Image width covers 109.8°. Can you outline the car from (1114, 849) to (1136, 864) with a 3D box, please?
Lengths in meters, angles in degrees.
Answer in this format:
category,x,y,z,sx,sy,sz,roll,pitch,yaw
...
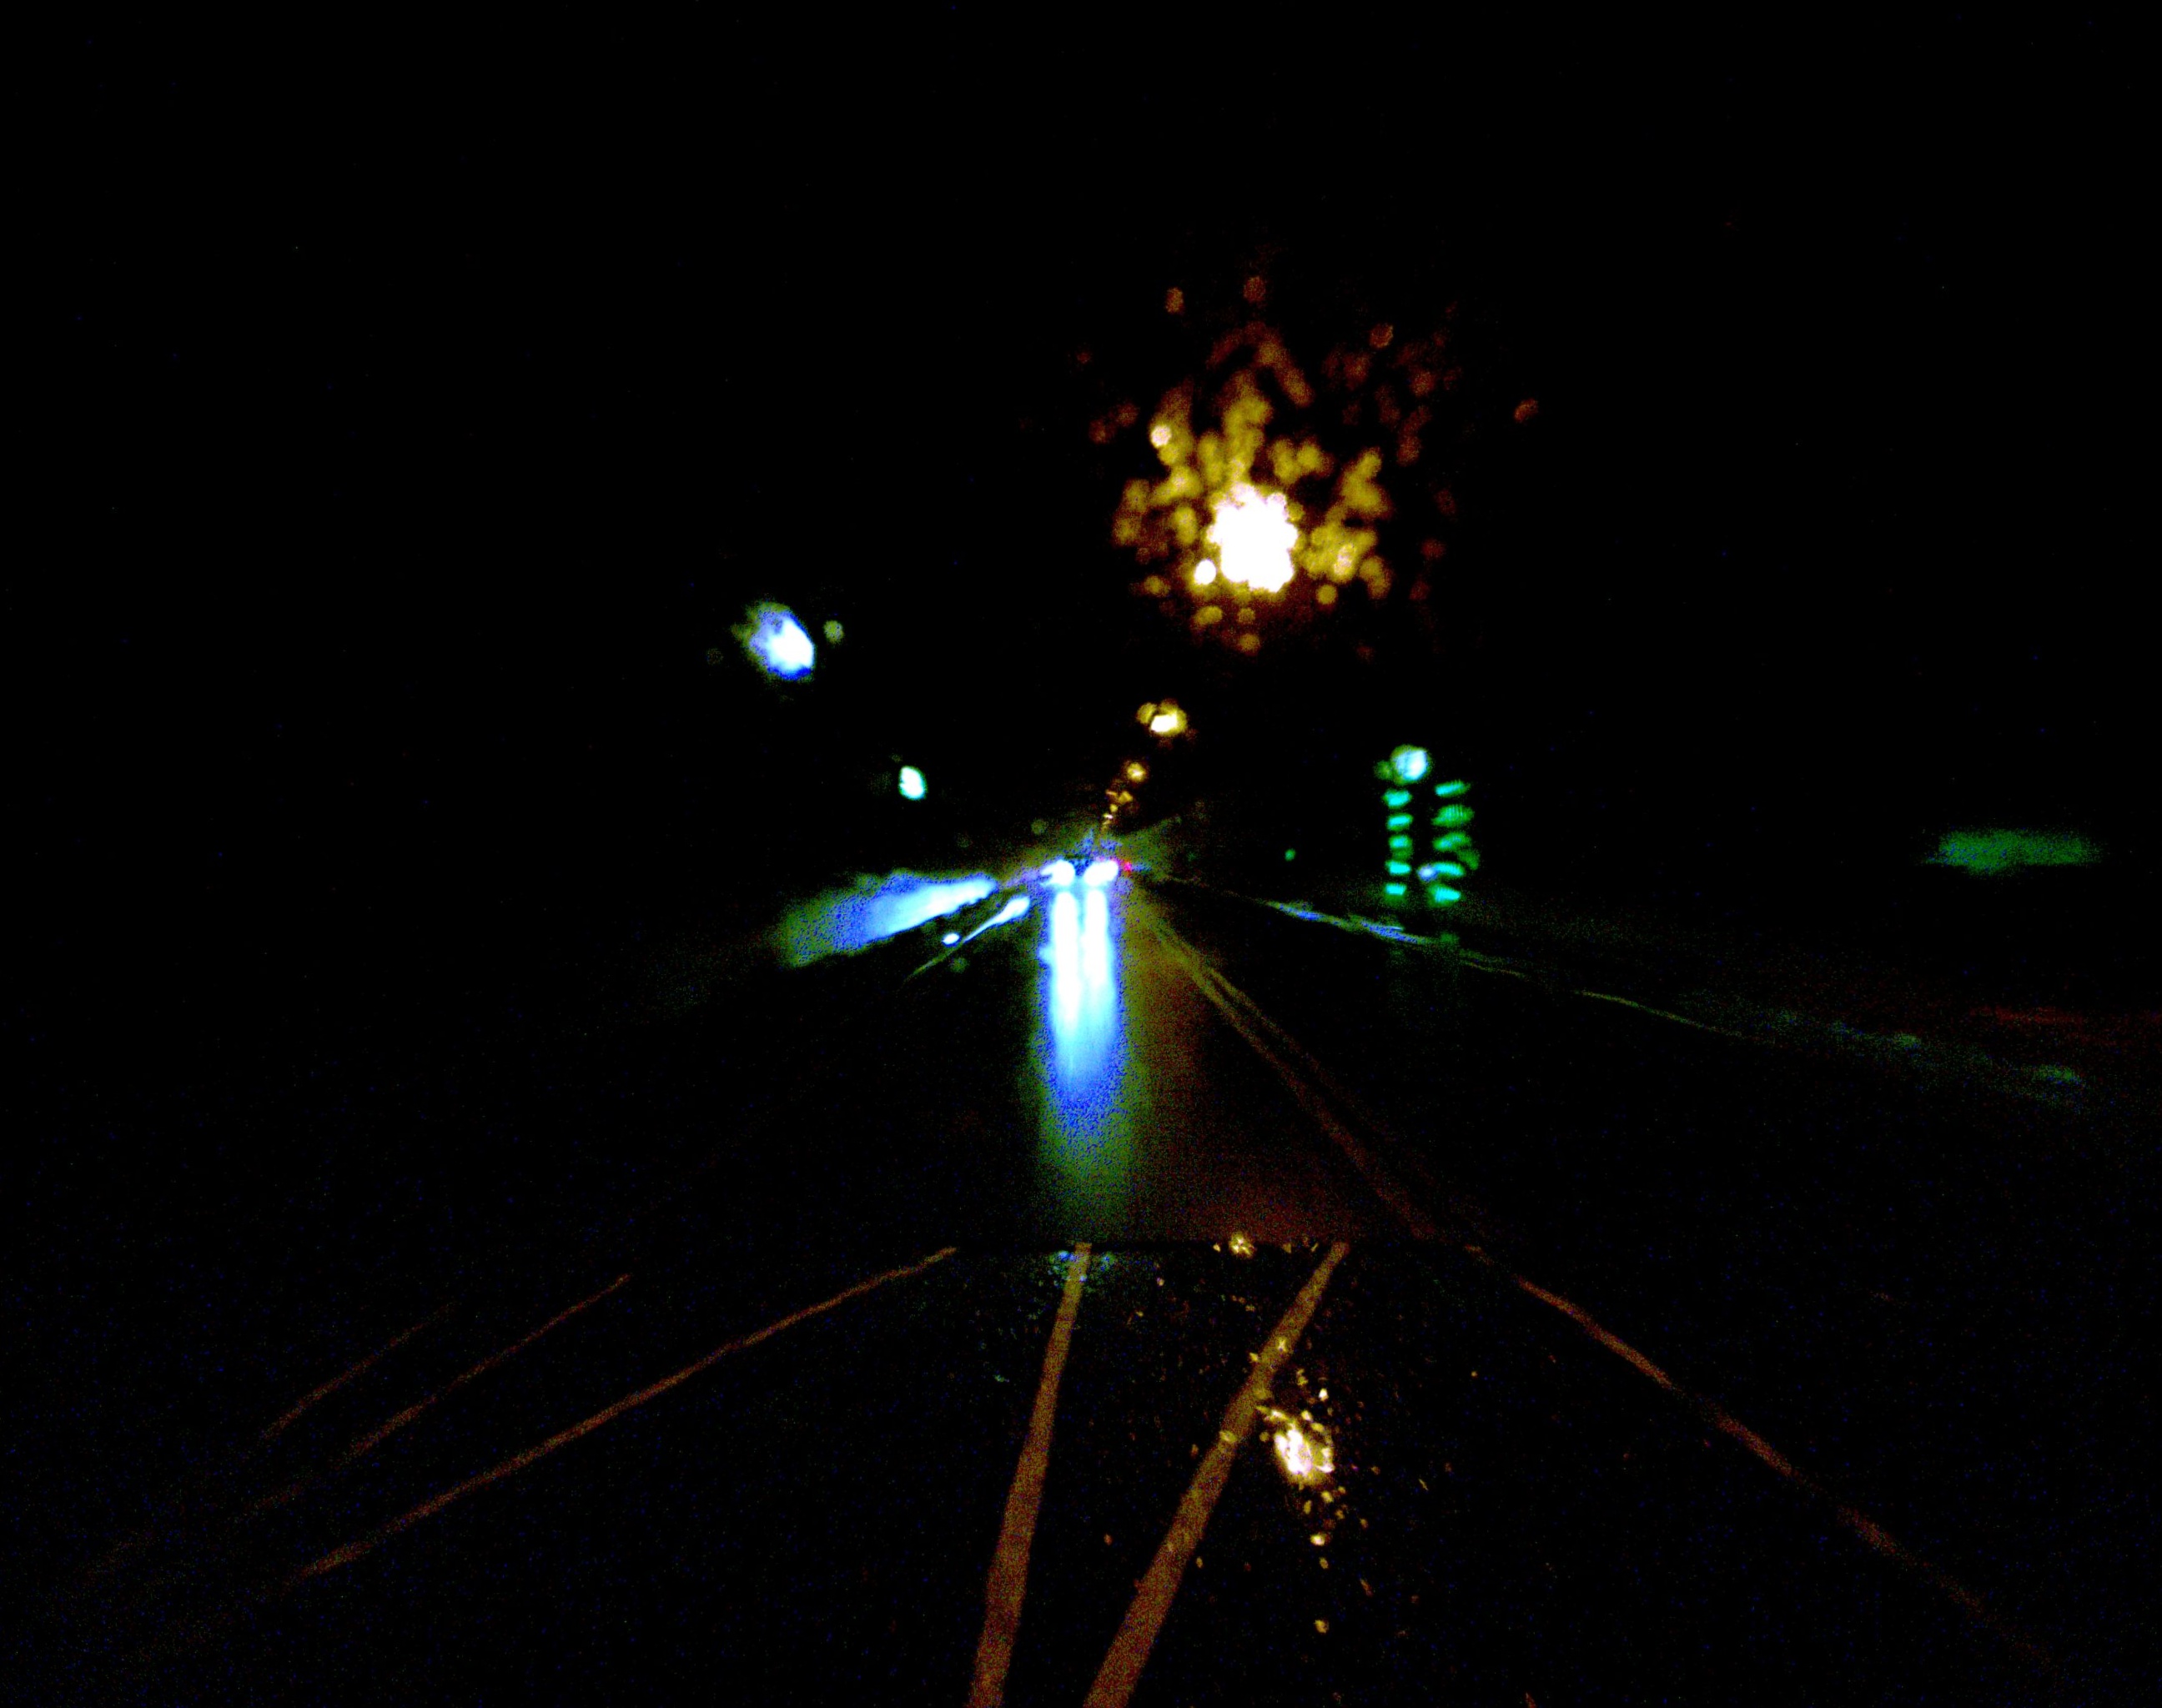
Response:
category,x,y,z,sx,sy,sz,roll,pitch,yaw
car,4.435,0.265,77.148,1.998,1.410,4.713,-1,1,1

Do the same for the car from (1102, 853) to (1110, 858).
category,x,y,z,sx,sy,sz,roll,pitch,yaw
car,6.249,0.366,190.295,1.712,1.410,3.973,-1,1,1

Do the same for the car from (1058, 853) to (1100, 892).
category,x,y,z,sx,sy,sz,roll,pitch,yaw
car,-0.041,0.809,35.642,1.829,1.650,3.929,-1,1,1
